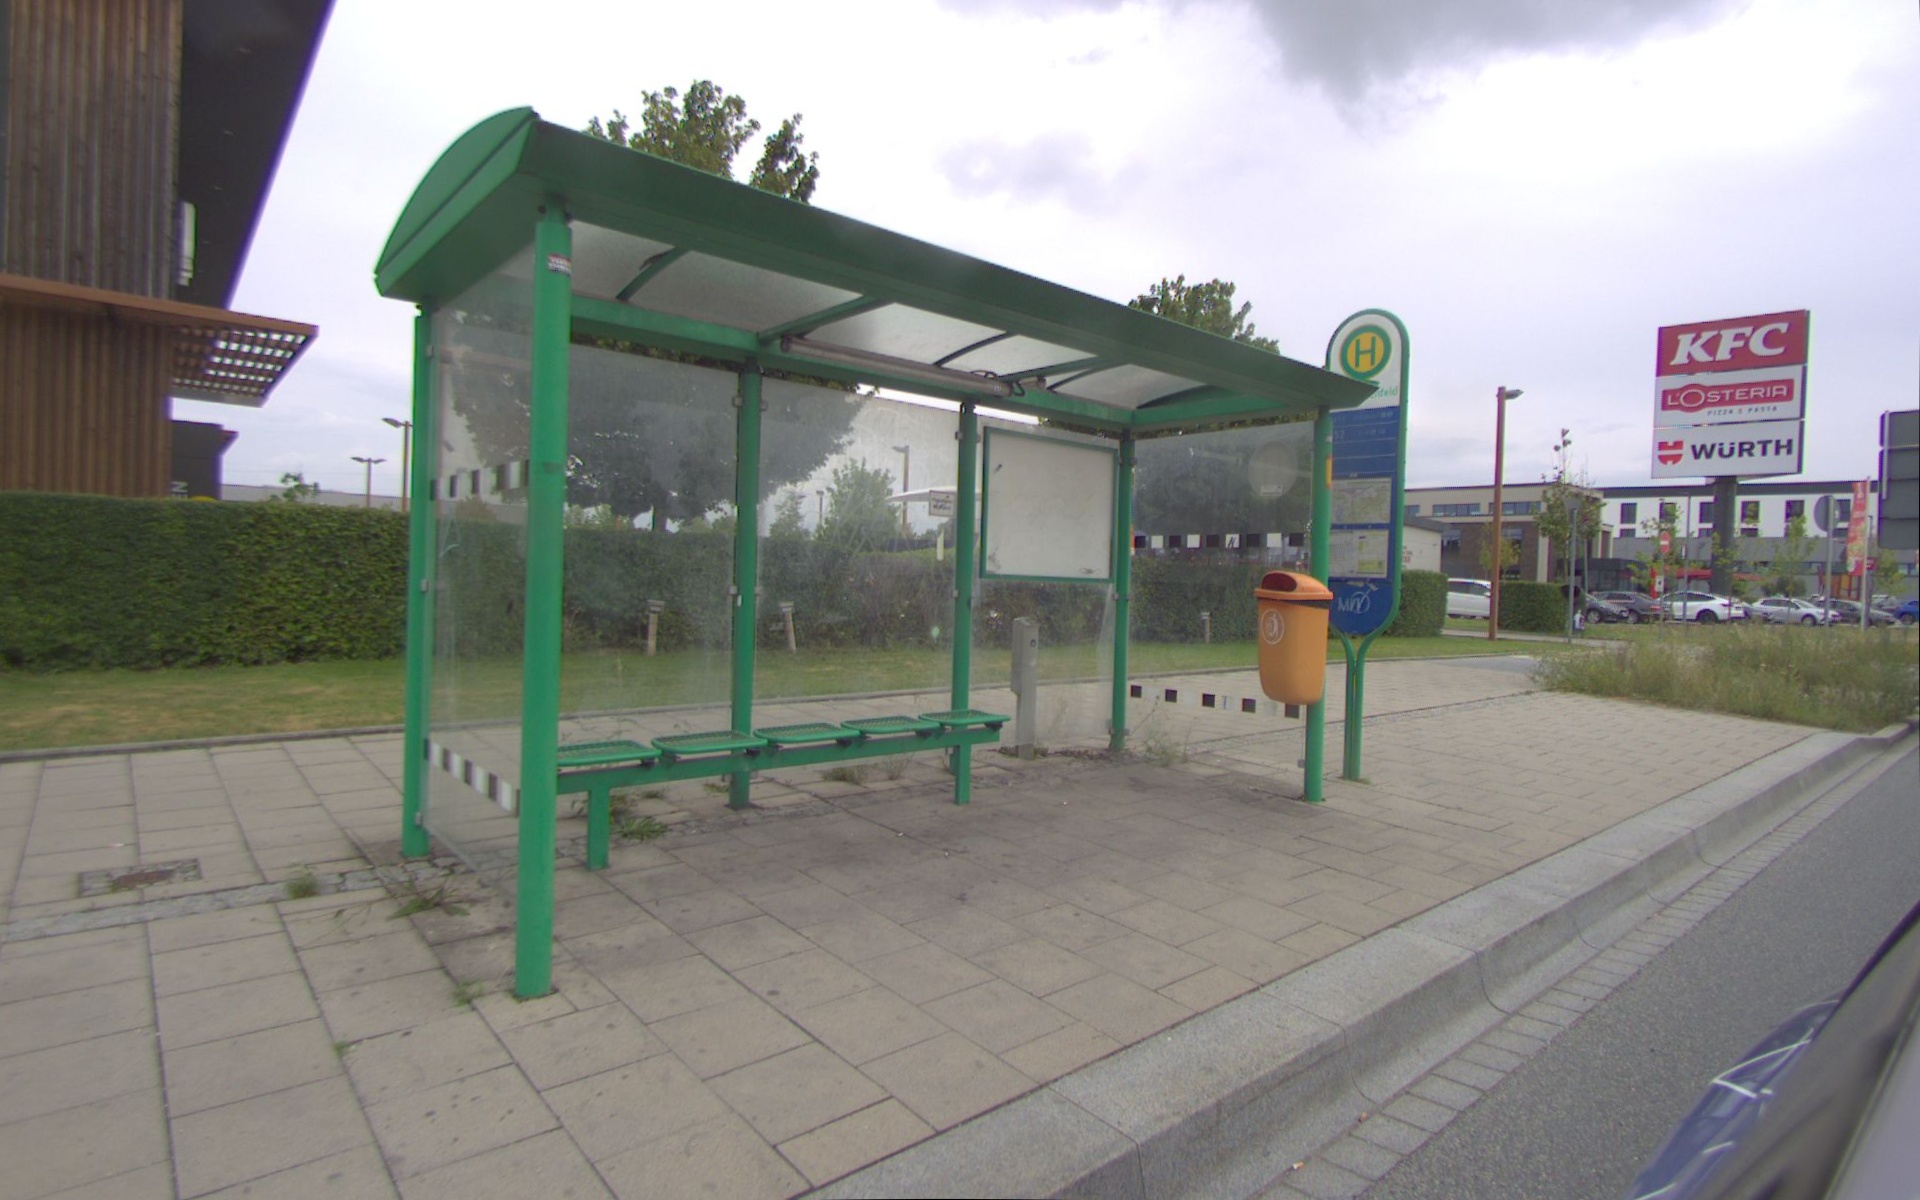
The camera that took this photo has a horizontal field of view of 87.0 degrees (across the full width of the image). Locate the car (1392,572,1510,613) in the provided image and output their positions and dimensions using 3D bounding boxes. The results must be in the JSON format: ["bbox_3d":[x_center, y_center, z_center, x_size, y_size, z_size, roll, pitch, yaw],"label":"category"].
[{"bbox_3d":[20.247,-0.341,41.873,1.814,1.547,3.997,1,2,-39],"label":"car"}]

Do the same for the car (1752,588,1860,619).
[{"bbox_3d":[44.689,0.166,53.544,1.809,1.504,4.007,1,1,-28],"label":"car"}]

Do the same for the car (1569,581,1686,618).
[{"bbox_3d":[29.953,-0.027,45.520,1.811,1.504,4.004,1,1,-32],"label":"car"}]

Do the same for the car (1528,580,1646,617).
[{"bbox_3d":[27.476,-0.082,44.448,1.811,1.504,4.004,1,1,-32],"label":"car"}]

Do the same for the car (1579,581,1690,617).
[{"bbox_3d":[32.004,-0.061,48.139,1.811,1.631,4.003,0,1,-32],"label":"car"}]

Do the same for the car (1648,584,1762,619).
[{"bbox_3d":[35.997,0.033,48.994,1.811,1.541,4.004,1,1,-32],"label":"car"}]

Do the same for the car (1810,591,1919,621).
[{"bbox_3d":[49.219,0.311,55.136,1.809,1.504,4.007,1,1,-28],"label":"car"}]

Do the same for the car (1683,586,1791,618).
[{"bbox_3d":[39.986,0.094,52.153,1.811,1.504,4.003,1,1,-32],"label":"car"}]

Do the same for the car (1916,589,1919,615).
[{"bbox_3d":[58.165,0.130,58.373,1.809,1.505,4.007,0,1,-23],"label":"car"}]
